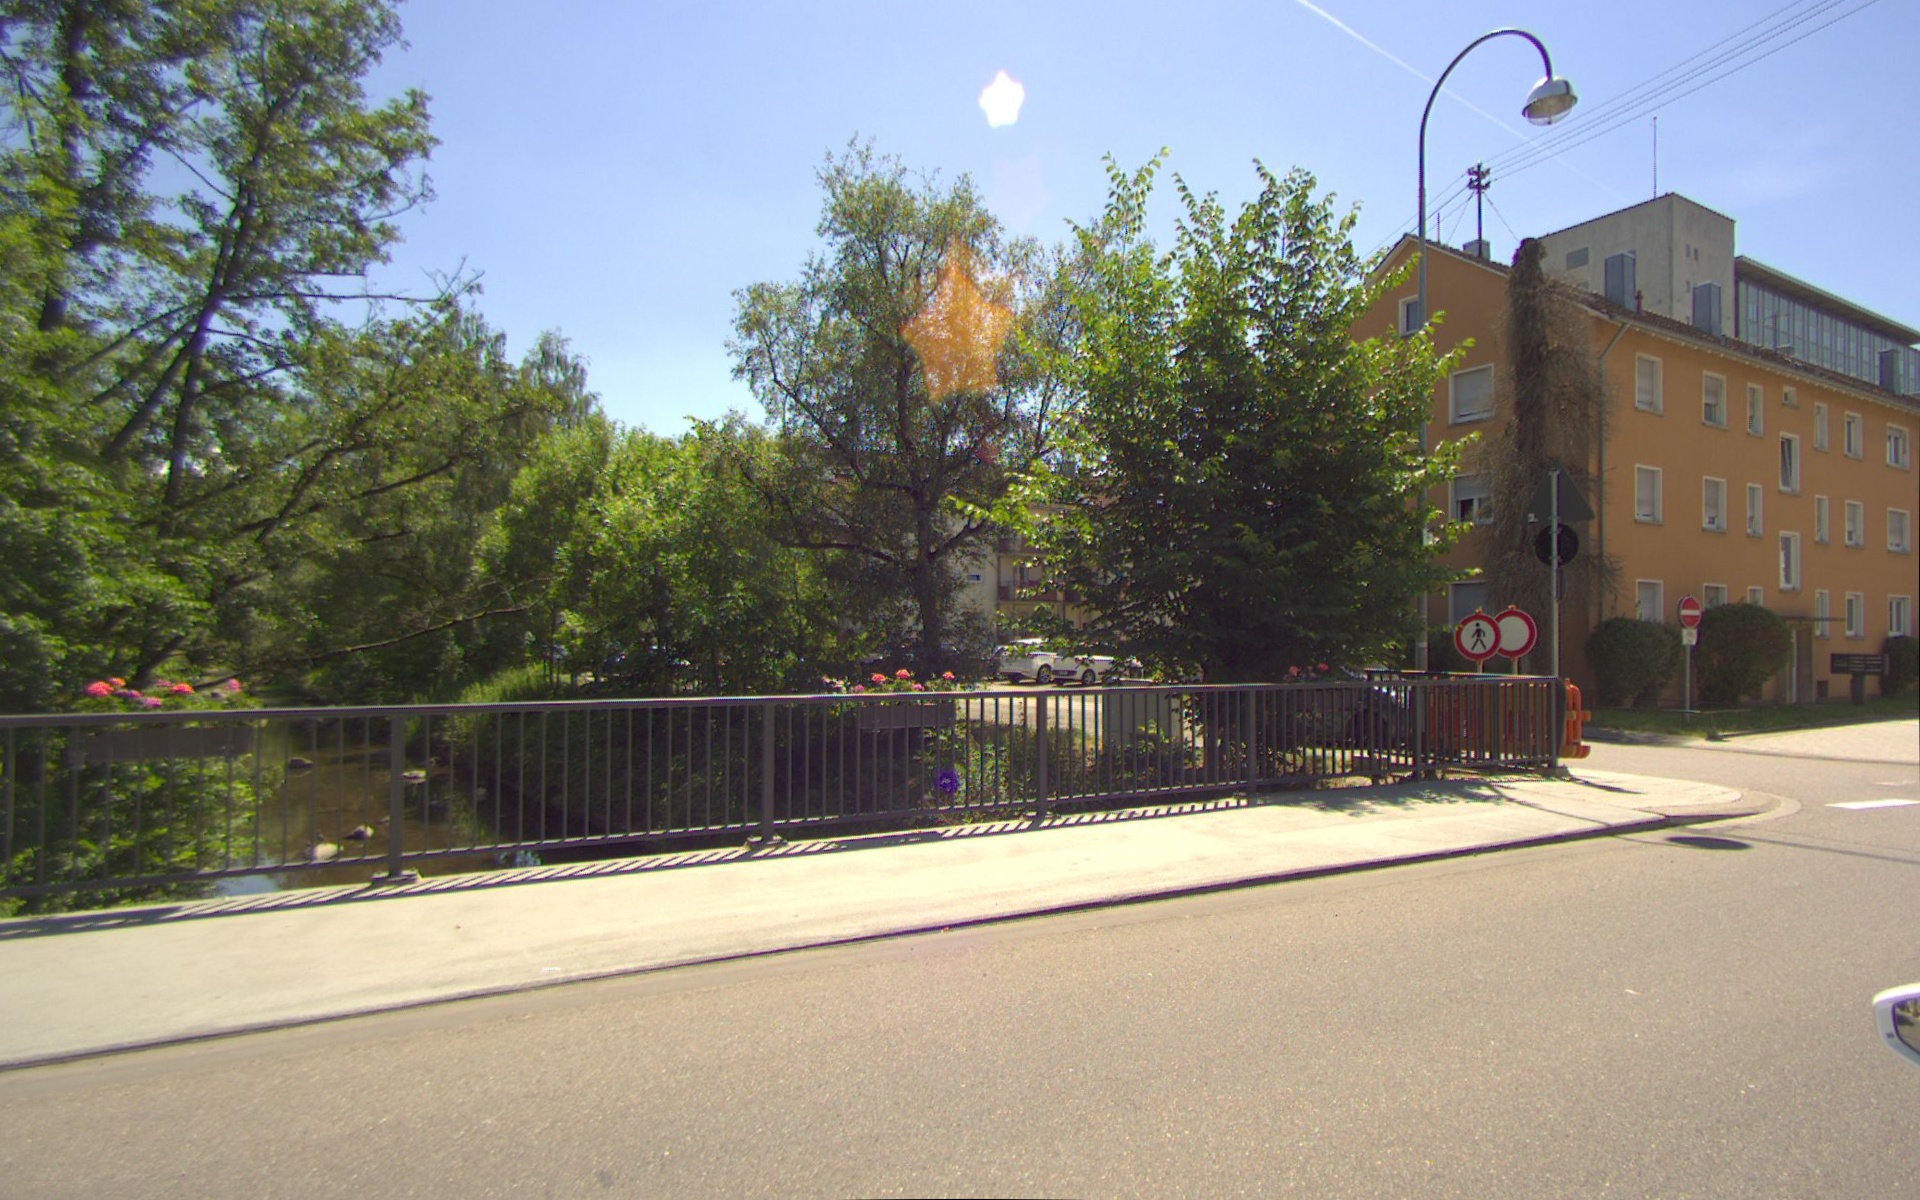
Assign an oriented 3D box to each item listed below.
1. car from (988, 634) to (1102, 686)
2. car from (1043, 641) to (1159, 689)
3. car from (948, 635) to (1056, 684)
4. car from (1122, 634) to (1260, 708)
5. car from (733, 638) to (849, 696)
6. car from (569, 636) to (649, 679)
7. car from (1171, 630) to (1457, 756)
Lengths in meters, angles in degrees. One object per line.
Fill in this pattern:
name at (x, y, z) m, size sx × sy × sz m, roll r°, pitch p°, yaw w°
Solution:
car at (3.242, 2.223, 38.108) m, size 3.958 × 1.840 × 1.981 m, roll 1°, pitch -1°, yaw -34°
car at (5.158, 2.308, 36.648) m, size 3.961 × 1.523 × 1.980 m, roll 0°, pitch -1°, yaw -36°
car at (1.692, 2.346, 40.351) m, size 3.958 × 1.840 × 1.981 m, roll 1°, pitch -1°, yaw -34°
car at (6.813, 2.084, 30.044) m, size 1.973 × 2.040 × 3.975 m, roll 1°, pitch -3°, yaw -26°
car at (-5.779, 2.206, 33.999) m, size 1.984 × 1.825 × 4.388 m, roll 2°, pitch -3°, yaw -39°
car at (-15.691, 2.542, 44.772) m, size 1.984 × 1.825 × 4.388 m, roll 2°, pitch -3°, yaw -39°
car at (6.018, 1.539, 17.556) m, size 1.804 × 1.898 × 4.388 m, roll 0°, pitch -3°, yaw -39°
